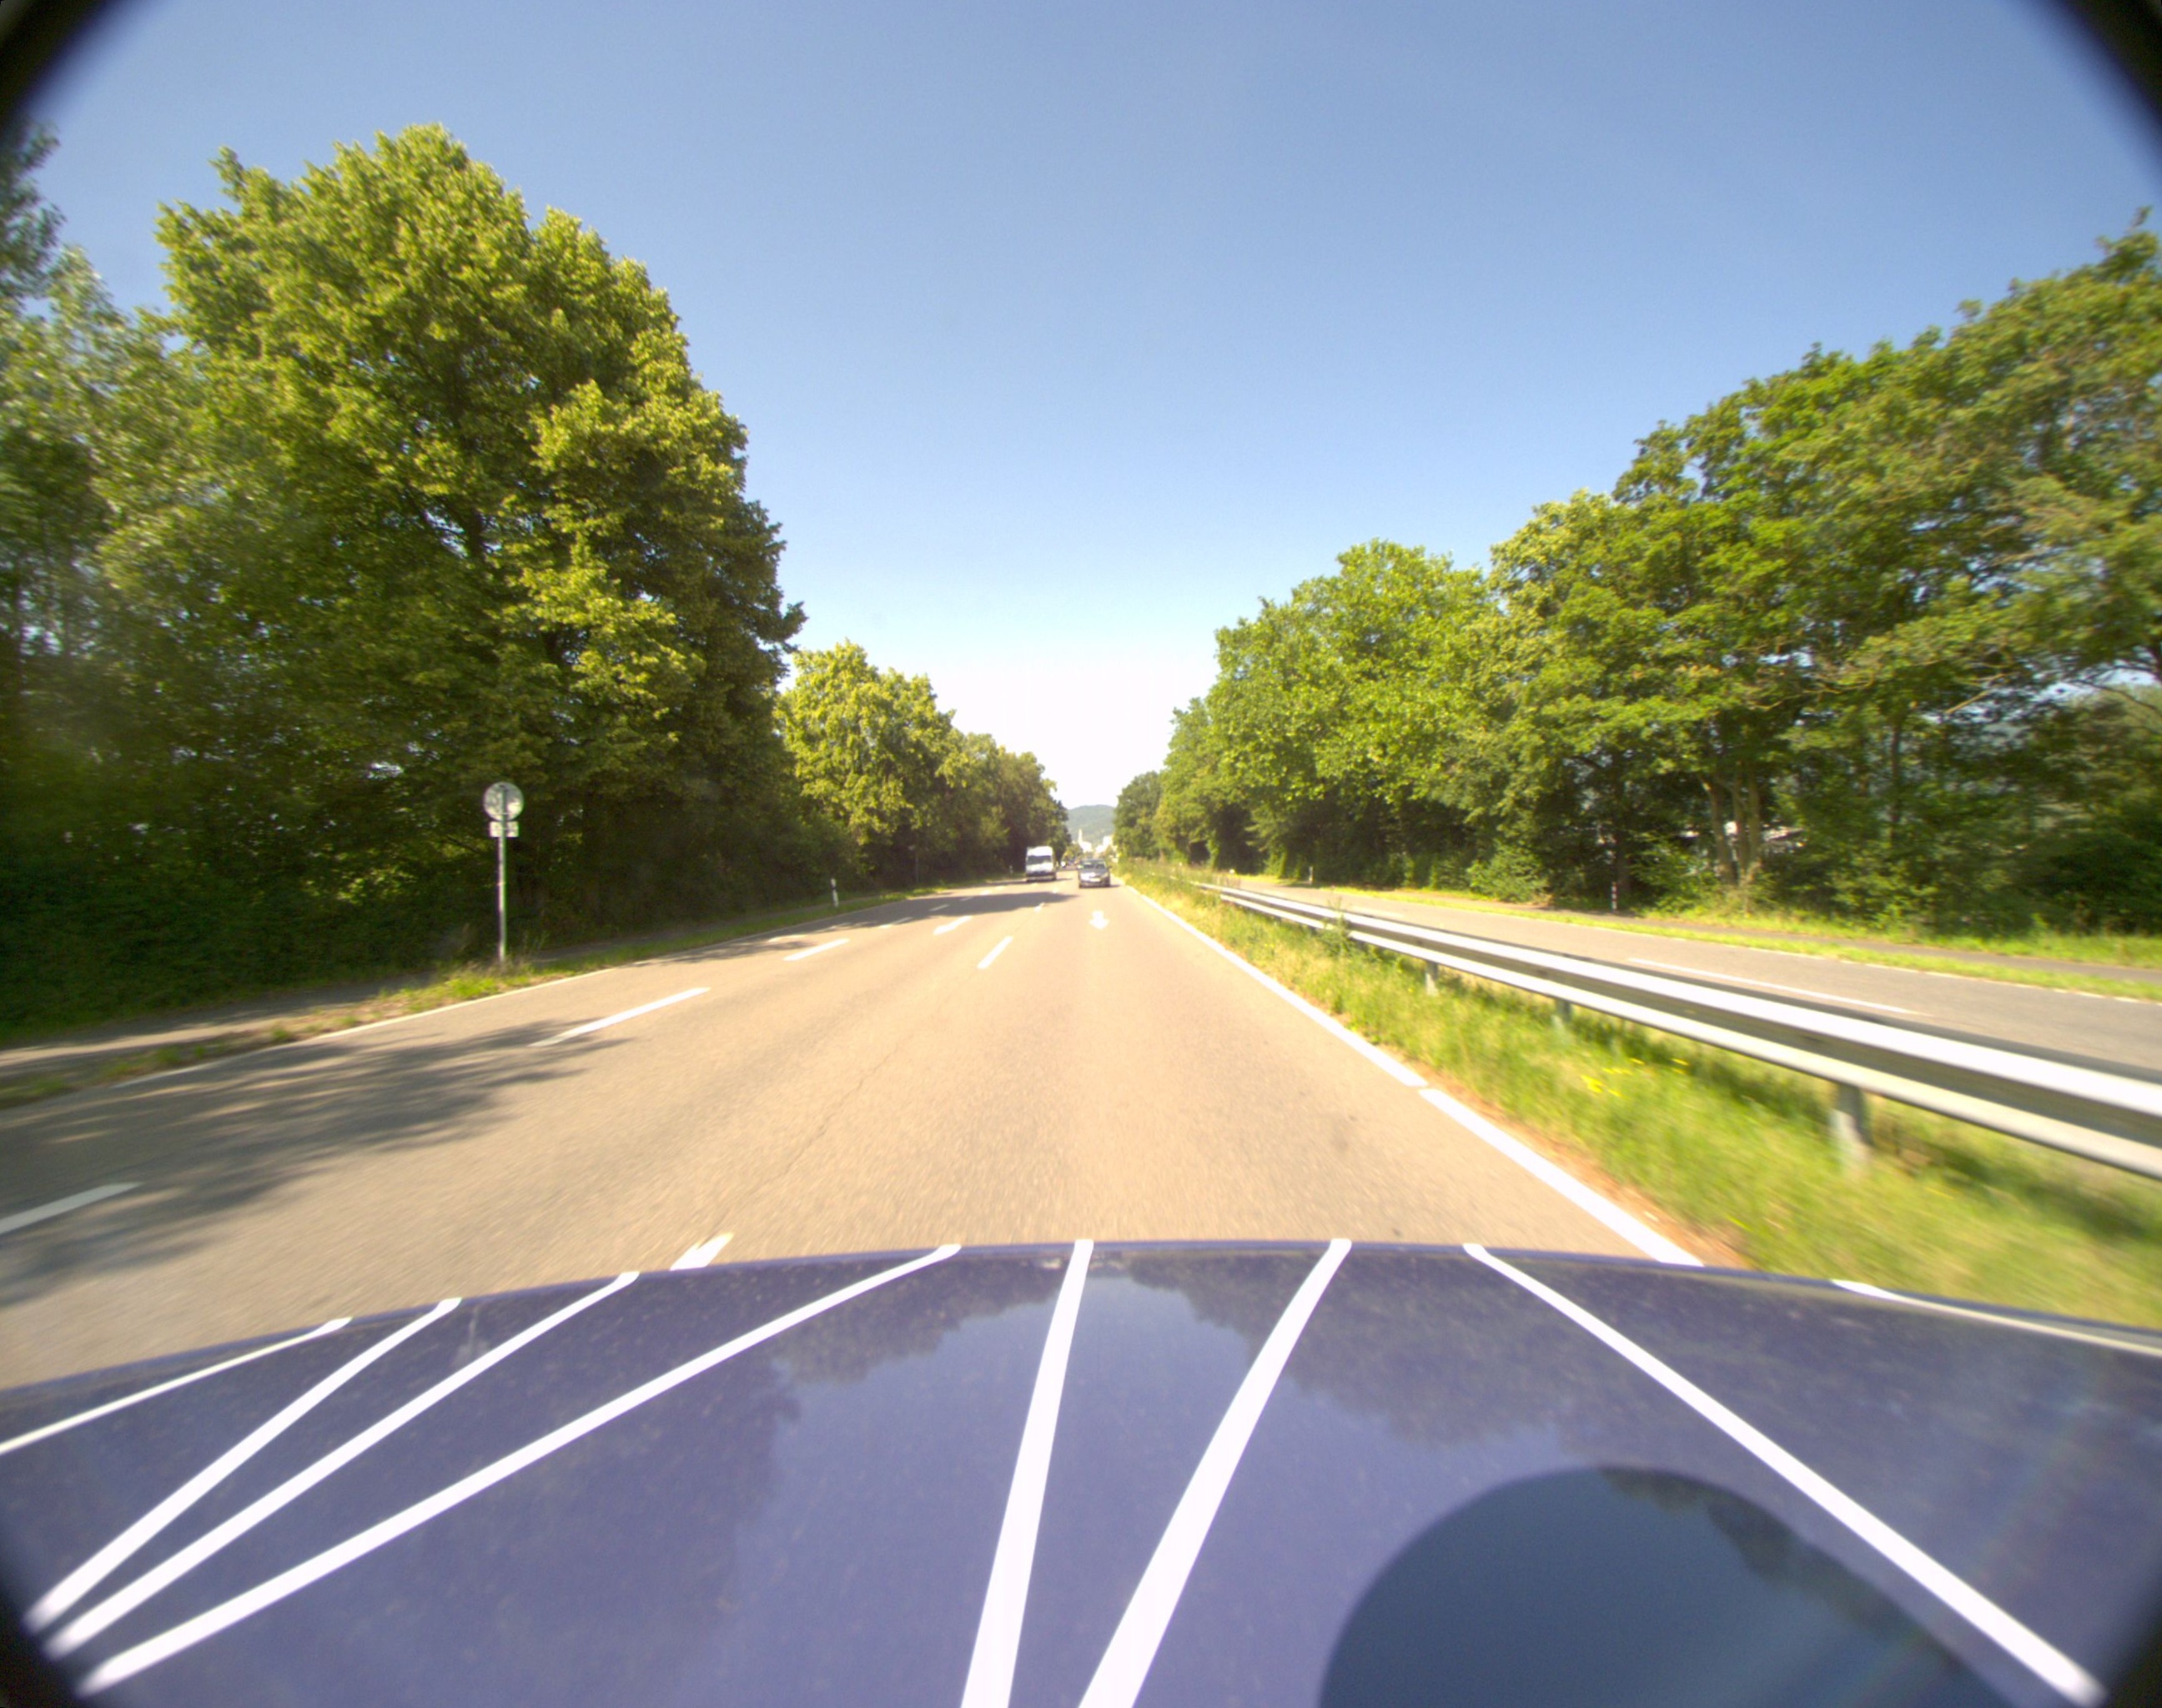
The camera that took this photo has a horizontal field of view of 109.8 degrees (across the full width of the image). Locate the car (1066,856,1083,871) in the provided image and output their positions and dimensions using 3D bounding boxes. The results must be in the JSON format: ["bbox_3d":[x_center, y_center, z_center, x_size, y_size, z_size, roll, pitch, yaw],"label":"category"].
[{"bbox_3d":[-0.648,0.931,78.805,1.678,1.435,3.622,-2,1,1],"label":"car"}]

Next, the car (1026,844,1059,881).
[{"bbox_3d":[-2.696,0.546,54.257,1.998,2.432,5.088,-2,1,1],"label":"car"}]

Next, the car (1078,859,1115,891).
[{"bbox_3d":[0.763,1.015,38.076,1.678,1.434,4.362,-2,0,1],"label":"car"}]
